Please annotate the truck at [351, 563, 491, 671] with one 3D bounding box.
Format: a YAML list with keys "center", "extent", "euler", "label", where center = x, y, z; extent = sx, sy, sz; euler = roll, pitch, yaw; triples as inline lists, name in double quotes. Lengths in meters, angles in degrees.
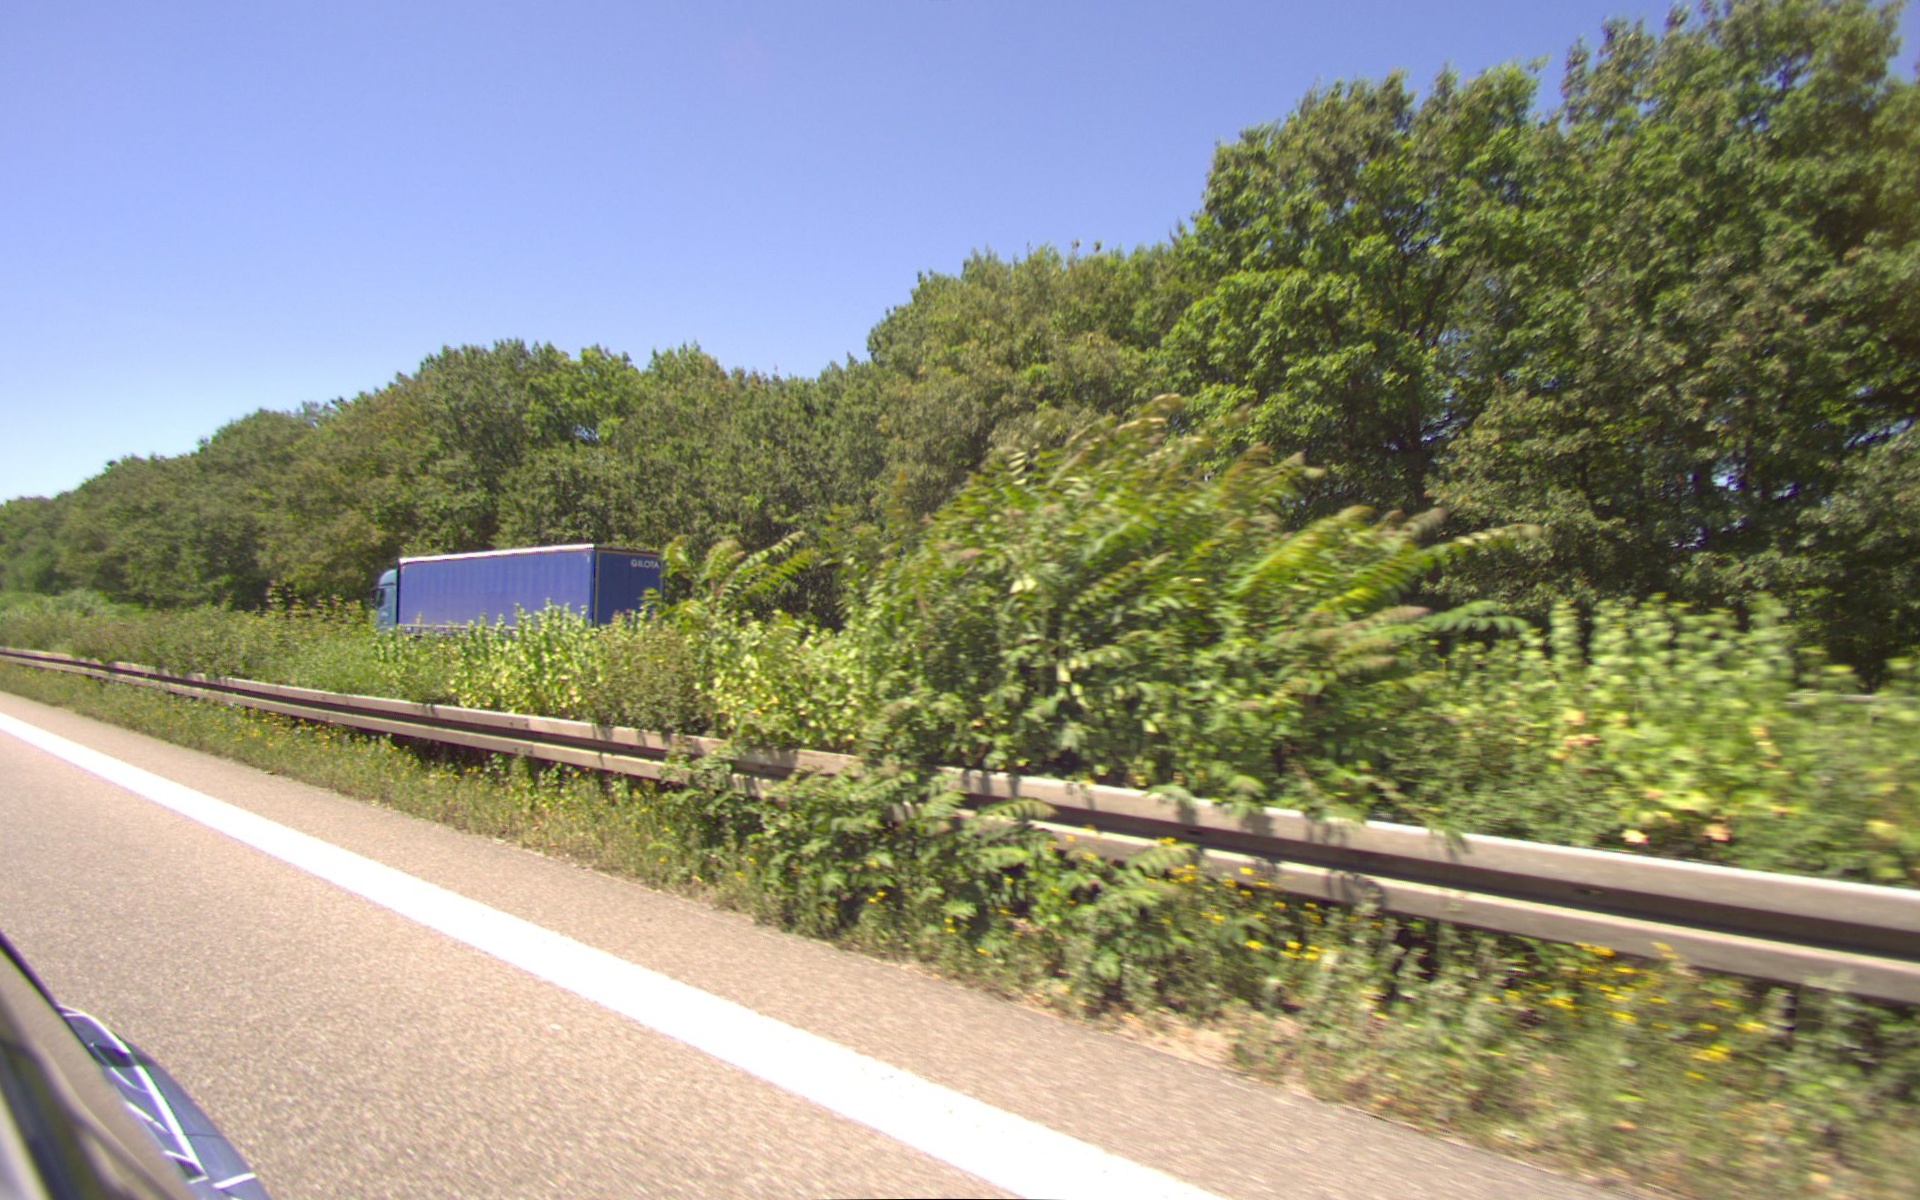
- center: [-21.444, 0.686, 40.181]
  extent: [5.866, 4.001, 2.789]
  euler: [-1, -2, 39]
  label: "truck"

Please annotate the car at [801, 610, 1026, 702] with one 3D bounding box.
- center: [-0.921, 0.945, 18.500]
  extent: [3.995, 1.497, 1.715]
  euler: [-1, -1, 39]
  label: "car"

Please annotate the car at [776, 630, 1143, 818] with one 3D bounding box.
- center: [-0.113, 1.224, 11.511]
  extent: [3.996, 1.733, 1.758]
  euler: [-1, -2, 40]
  label: "car"

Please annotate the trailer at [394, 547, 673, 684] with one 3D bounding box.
- center: [-15.232, 0.573, 35.080]
  extent: [13.794, 4.001, 2.814]
  euler: [-1, -2, 39]
  label: "trailer"
